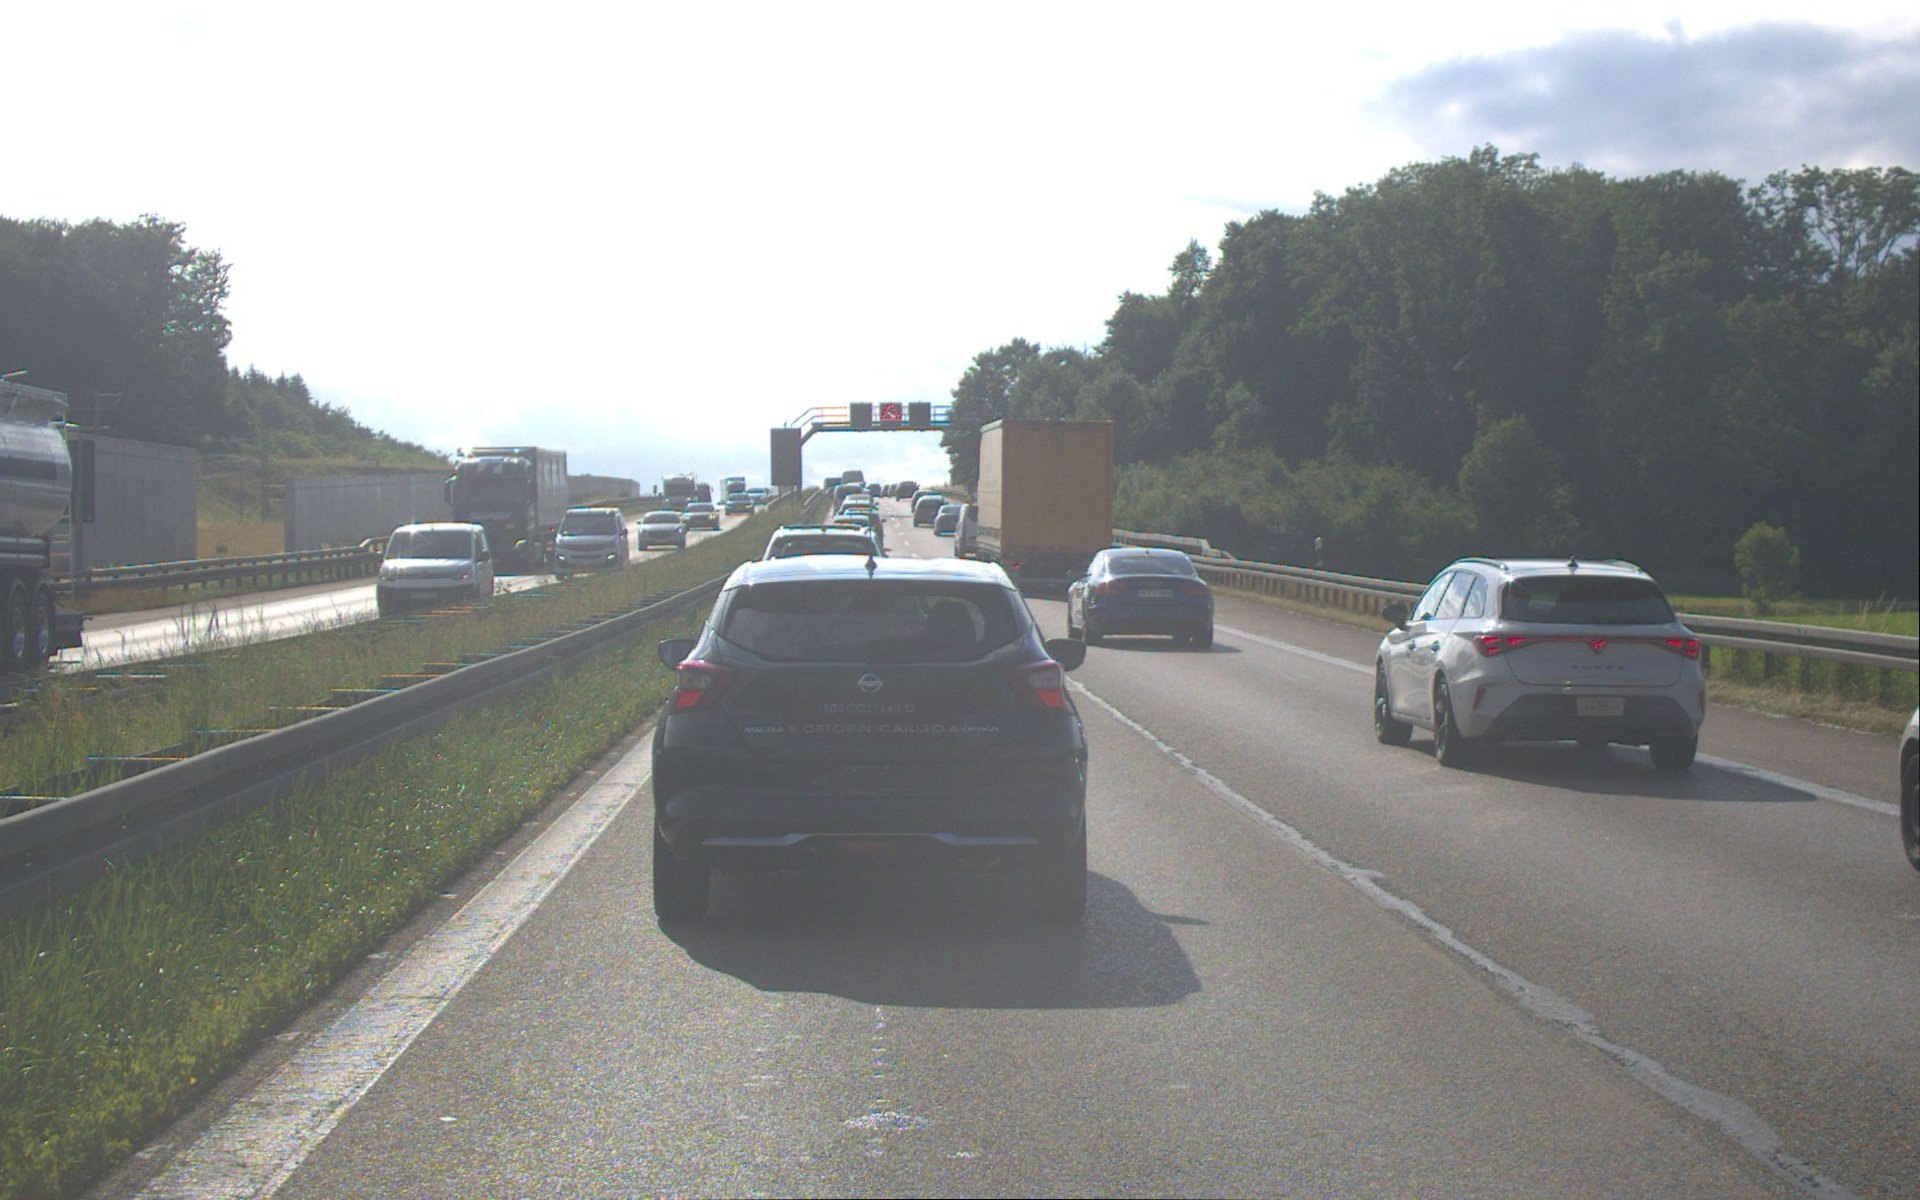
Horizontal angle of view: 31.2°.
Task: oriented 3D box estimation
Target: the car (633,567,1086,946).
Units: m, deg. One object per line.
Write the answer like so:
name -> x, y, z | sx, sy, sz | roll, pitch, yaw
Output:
car -> -0.382, 0.584, 14.773 | 1.710, 1.421, 3.378 | 1, 0, 0

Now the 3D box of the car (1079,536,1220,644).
car -> 2.691, -0.154, 49.625 | 1.747, 1.470, 4.147 | 1, 0, -1

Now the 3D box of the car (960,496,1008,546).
car -> 0.858, -2.858, 124.695 | 1.667, 1.749, 3.327 | 1, 0, 0

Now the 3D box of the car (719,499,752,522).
car -> -14.444, -5.758, 221.694 | 1.993, 1.428, 4.449 | 1, 0, -2

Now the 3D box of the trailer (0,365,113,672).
trailer -> -12.972, -0.965, 41.384 | 2.540, 3.758, 12.542 | -1, 0, -1

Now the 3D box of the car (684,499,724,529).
car -> -13.272, -4.441, 178.463 | 1.902, 1.459, 4.184 | 1, 0, -2

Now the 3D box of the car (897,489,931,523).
car -> -2.876, -5.874, 215.793 | 1.993, 2.007, 4.000 | 1, 0, -2

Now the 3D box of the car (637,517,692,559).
car -> -11.962, -2.512, 139.227 | 1.888, 1.626, 5.111 | 1, 0, -2

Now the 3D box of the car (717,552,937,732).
car -> -1.039, 0.306, 28.189 | 1.674, 1.362, 3.596 | 1, 0, -1

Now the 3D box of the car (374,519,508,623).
car -> -9.490, -0.538, 63.164 | 1.860, 1.827, 4.281 | 1, 0, -1

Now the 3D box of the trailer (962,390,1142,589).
trailer -> 2.092, -2.558, 84.266 | 3.548, 4.442, 12.723 | 1, 0, -2

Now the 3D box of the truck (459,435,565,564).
truck -> -14.670, -3.234, 113.007 | 2.754, 4.076, 6.954 | 0, 0, -1

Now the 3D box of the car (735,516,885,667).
car -> -1.769, -0.110, 41.525 | 1.674, 1.720, 3.596 | 1, 0, -1

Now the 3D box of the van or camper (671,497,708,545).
van or camper -> -18.278, -5.325, 232.702 | 2.225, 3.068, 6.514 | 1, 0, -2

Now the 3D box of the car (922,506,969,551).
car -> -0.696, -3.311, 160.133 | 1.993, 2.007, 4.000 | 1, 0, -2

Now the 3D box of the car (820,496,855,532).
car -> -7.072, -4.957, 198.670 | 1.993, 2.007, 4.000 | 1, 0, -2

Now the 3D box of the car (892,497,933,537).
car -> -2.482, -4.310, 179.911 | 1.993, 2.007, 4.000 | 1, 0, -2

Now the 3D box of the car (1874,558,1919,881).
car -> 5.293, 0.591, 14.980 | 1.548, 1.490, 3.378 | 1, 1, -3

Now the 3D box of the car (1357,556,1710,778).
car -> 4.010, 0.428, 24.657 | 1.620, 1.441, 4.147 | 1, 0, -3

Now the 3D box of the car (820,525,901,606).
car -> -2.575, -0.876, 88.013 | 1.993, 2.007, 4.000 | 1, 0, -2

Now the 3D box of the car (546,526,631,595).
car -> -10.711, -1.127, 99.442 | 1.993, 1.877, 4.787 | -2, 1, -1

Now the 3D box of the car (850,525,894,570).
car -> -3.527, -2.099, 137.871 | 1.667, 1.749, 3.327 | 1, 0, 0
